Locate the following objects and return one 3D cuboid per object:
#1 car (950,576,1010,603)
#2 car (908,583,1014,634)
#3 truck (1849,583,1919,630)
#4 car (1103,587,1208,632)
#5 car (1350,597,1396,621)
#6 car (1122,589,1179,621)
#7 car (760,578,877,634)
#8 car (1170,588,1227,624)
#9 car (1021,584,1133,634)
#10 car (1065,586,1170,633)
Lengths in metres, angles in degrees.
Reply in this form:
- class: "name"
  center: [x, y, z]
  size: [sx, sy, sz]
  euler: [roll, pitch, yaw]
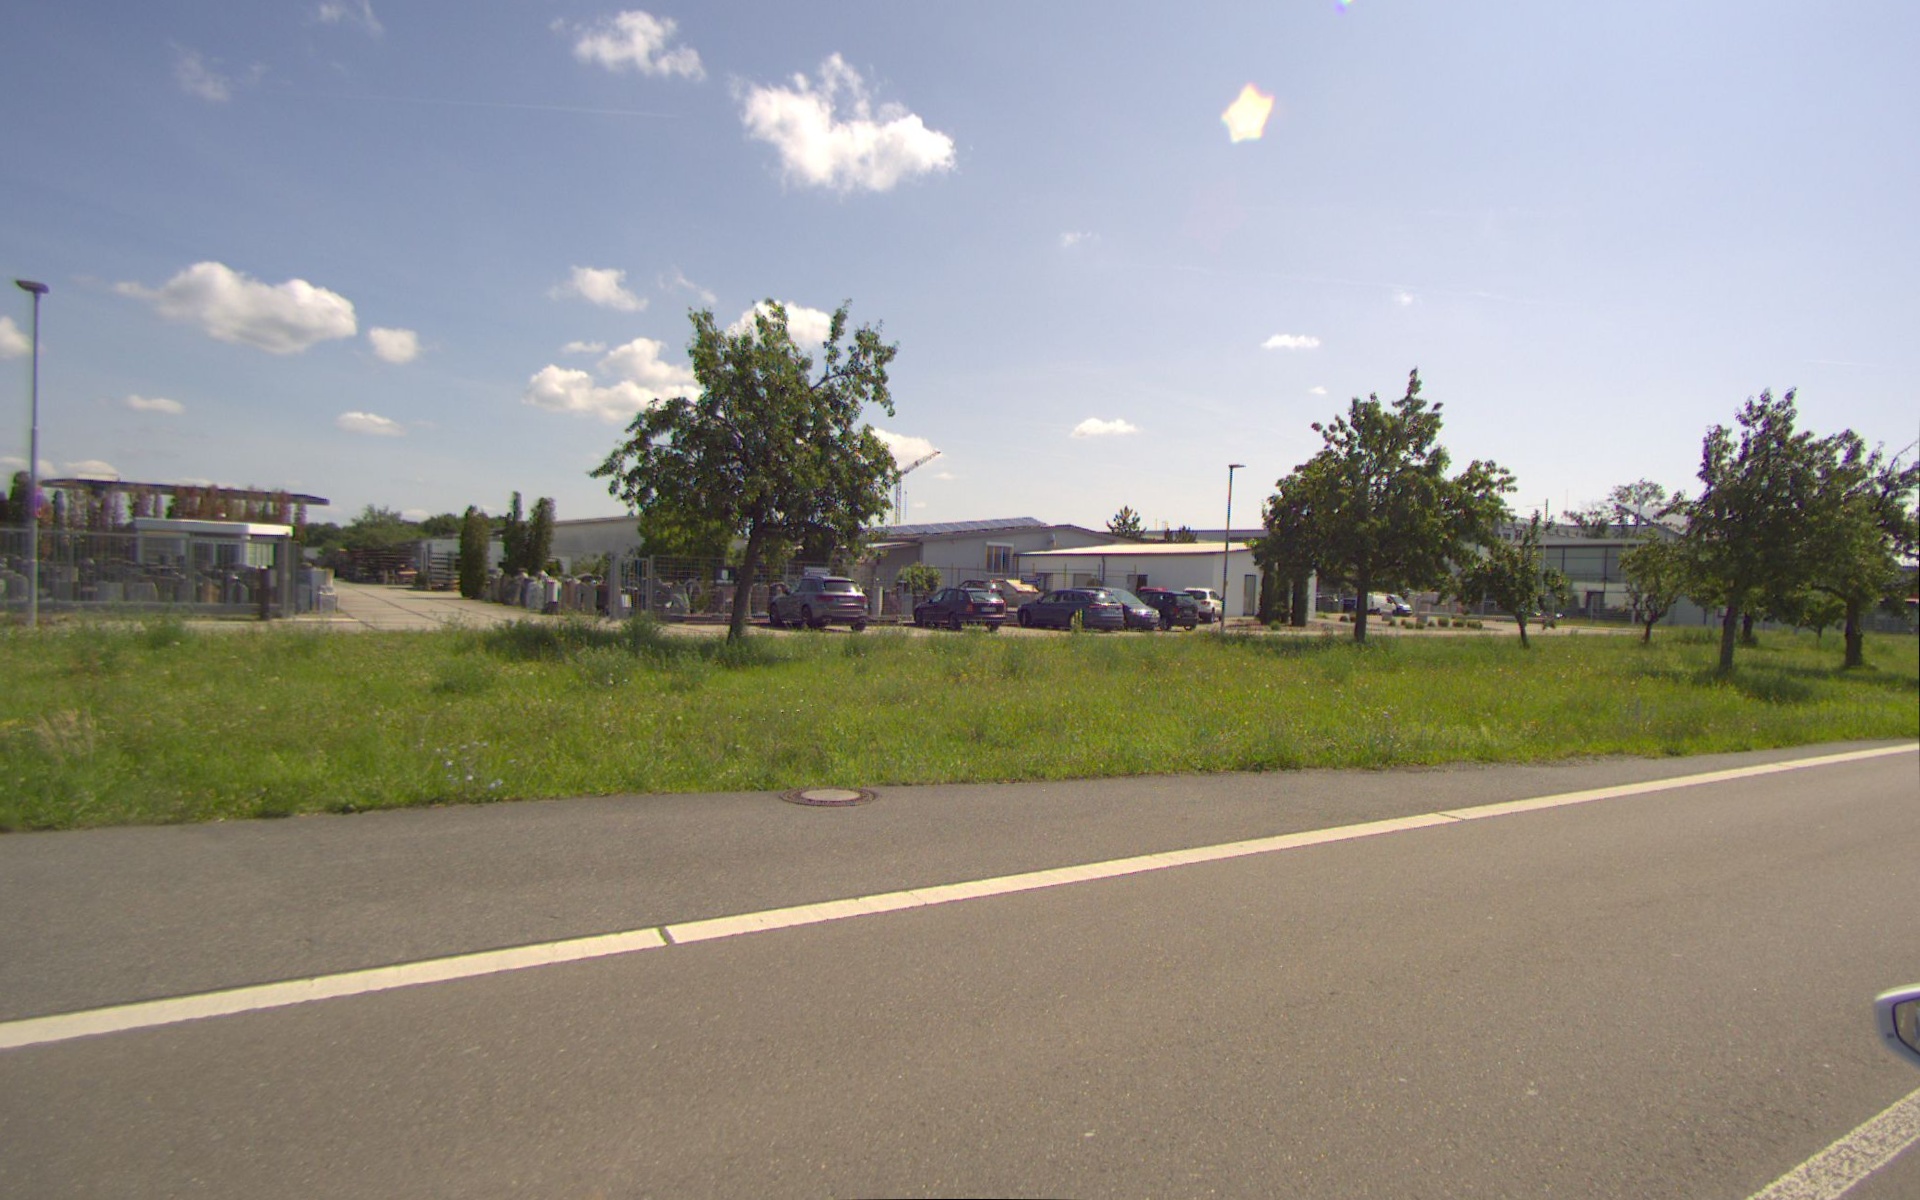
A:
- class: "car"
  center: [1.230, -0.671, 62.680]
  size: [1.975, 1.504, 4.139]
  euler: [2, 1, -28]
- class: "car"
  center: [-0.025, 0.268, 34.490]
  size: [1.649, 1.576, 3.959]
  euler: [1, 1, -35]
- class: "truck"
  center: [75.405, 0.560, 81.400]
  size: [10.167, 3.606, 2.734]
  euler: [1, 1, -36]
- class: "car"
  center: [7.969, 0.359, 41.267]
  size: [1.980, 1.662, 3.959]
  euler: [1, 1, -35]
- class: "car"
  center: [37.649, 0.835, 91.523]
  size: [4.705, 2.041, 1.976]
  euler: [1, 2, -41]
- class: "car"
  center: [10.127, 0.250, 53.128]
  size: [1.962, 1.549, 4.166]
  euler: [3, 1, 24]
- class: "car"
  center: [-4.478, 0.148, 31.348]
  size: [1.980, 1.548, 3.959]
  euler: [1, 1, -35]
- class: "car"
  center: [12.000, 0.269, 50.337]
  size: [1.962, 1.662, 4.166]
  euler: [3, 1, 24]
- class: "car"
  center: [4.302, 0.307, 37.479]
  size: [1.980, 1.662, 3.959]
  euler: [1, 1, -35]
- class: "car"
  center: [6.130, 0.336, 39.458]
  size: [1.840, 1.662, 3.959]
  euler: [1, 1, -35]
